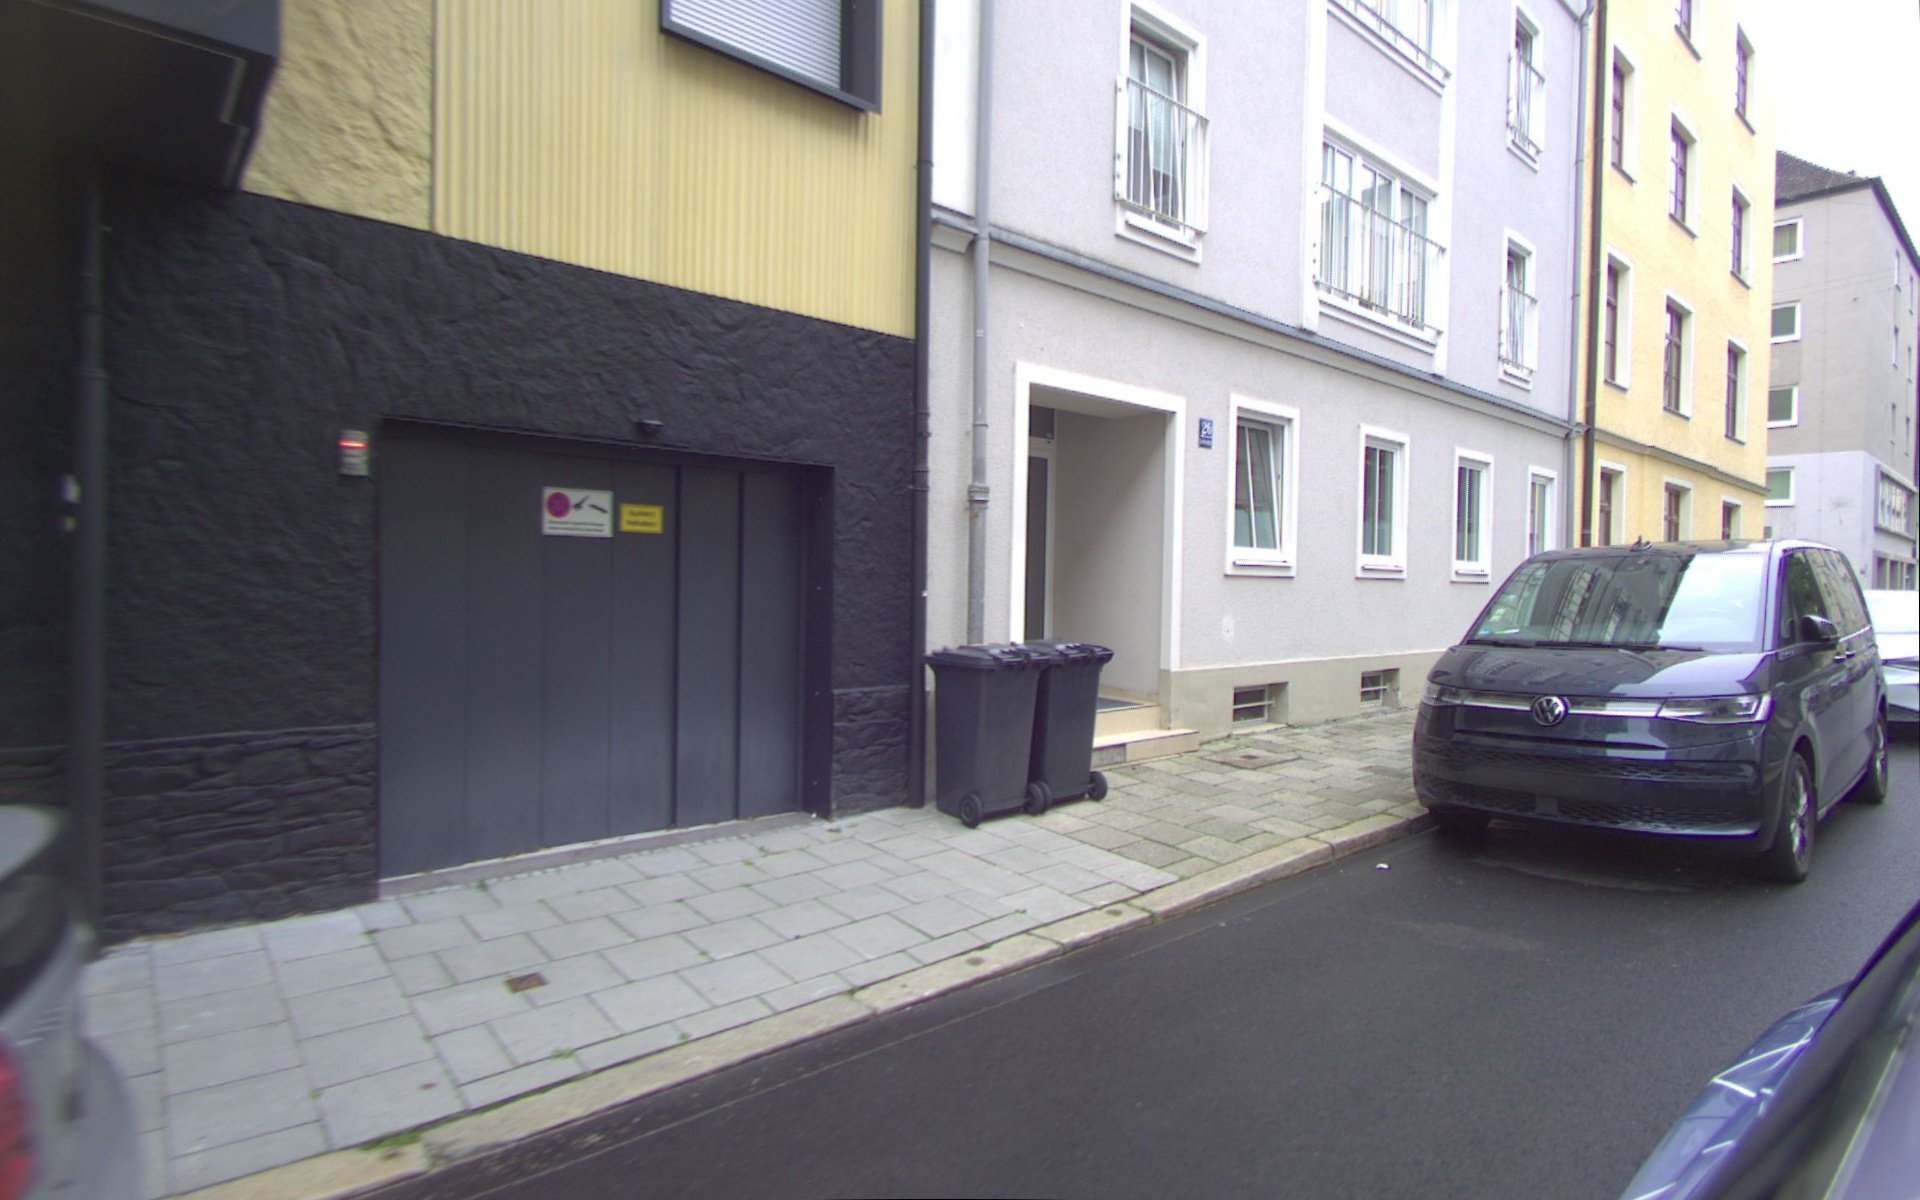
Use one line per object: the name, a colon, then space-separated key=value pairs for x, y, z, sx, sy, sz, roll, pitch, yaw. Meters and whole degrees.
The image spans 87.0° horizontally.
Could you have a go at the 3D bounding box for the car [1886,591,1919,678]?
car: x=18.453 y=0.607 z=18.612 sx=3.790 sy=1.523 sz=1.690 roll=0 pitch=2 yaw=-41

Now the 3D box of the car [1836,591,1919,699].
car: x=15.089 y=0.644 z=15.750 sx=3.790 sy=1.523 sz=1.690 roll=0 pitch=2 yaw=-41

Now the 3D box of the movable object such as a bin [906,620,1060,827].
movable object such as a bin: x=0.133 y=0.722 z=6.324 sx=0.564 sy=1.154 sz=0.796 roll=0 pitch=1 yaw=-42

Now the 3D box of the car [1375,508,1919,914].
car: x=5.091 y=0.500 z=7.093 sx=5.094 sy=1.862 sz=1.985 roll=0 pitch=0 yaw=-41

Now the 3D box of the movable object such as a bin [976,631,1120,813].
movable object such as a bin: x=0.573 y=0.762 z=6.693 sx=0.537 sy=1.067 sz=0.796 roll=0 pitch=1 yaw=-42

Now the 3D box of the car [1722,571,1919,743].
car: x=10.800 y=0.542 z=11.973 sx=4.462 sy=1.695 sz=1.965 roll=0 pitch=2 yaw=-41

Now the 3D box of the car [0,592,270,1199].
car: x=-2.824 y=0.741 z=0.313 sx=4.131 sy=1.447 sz=1.737 roll=0 pitch=2 yaw=-42
